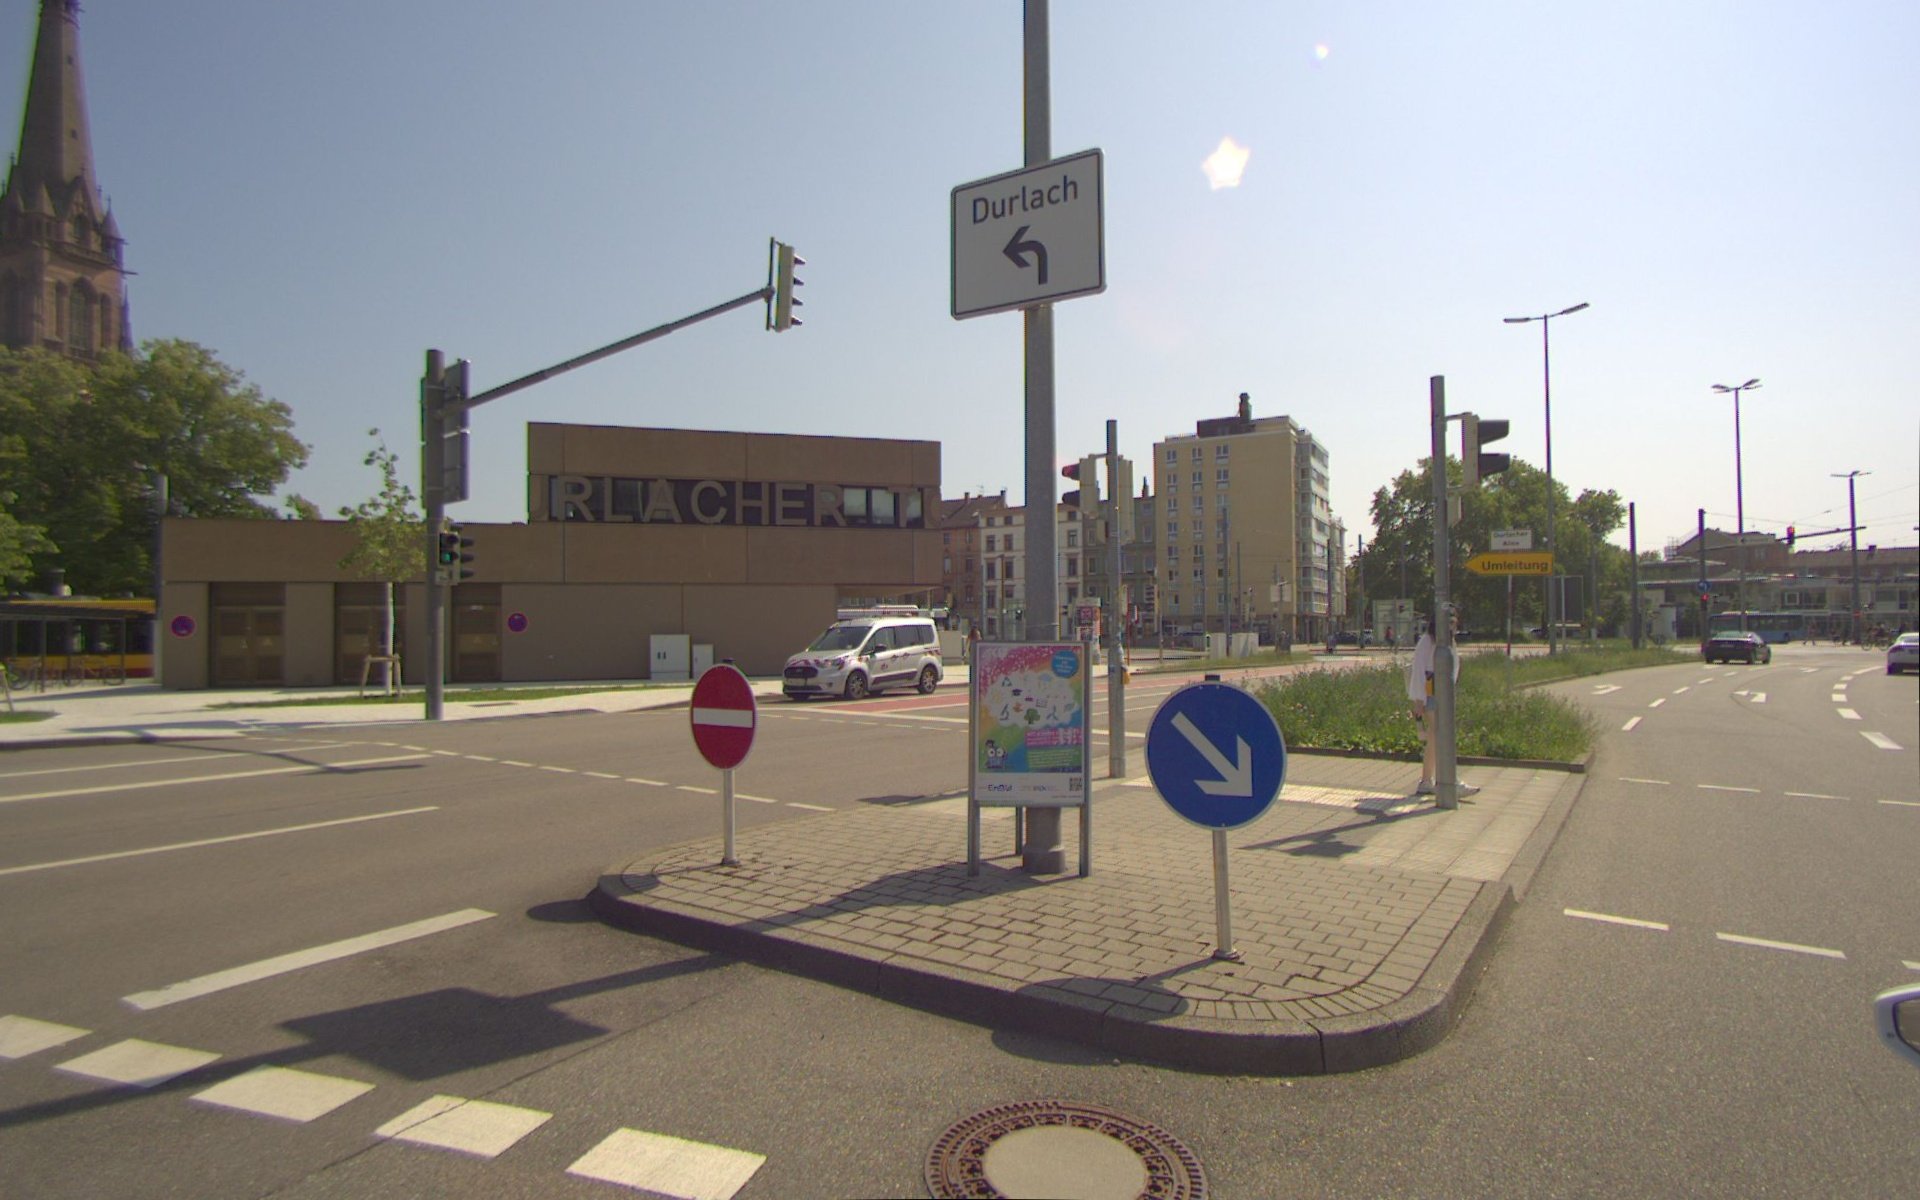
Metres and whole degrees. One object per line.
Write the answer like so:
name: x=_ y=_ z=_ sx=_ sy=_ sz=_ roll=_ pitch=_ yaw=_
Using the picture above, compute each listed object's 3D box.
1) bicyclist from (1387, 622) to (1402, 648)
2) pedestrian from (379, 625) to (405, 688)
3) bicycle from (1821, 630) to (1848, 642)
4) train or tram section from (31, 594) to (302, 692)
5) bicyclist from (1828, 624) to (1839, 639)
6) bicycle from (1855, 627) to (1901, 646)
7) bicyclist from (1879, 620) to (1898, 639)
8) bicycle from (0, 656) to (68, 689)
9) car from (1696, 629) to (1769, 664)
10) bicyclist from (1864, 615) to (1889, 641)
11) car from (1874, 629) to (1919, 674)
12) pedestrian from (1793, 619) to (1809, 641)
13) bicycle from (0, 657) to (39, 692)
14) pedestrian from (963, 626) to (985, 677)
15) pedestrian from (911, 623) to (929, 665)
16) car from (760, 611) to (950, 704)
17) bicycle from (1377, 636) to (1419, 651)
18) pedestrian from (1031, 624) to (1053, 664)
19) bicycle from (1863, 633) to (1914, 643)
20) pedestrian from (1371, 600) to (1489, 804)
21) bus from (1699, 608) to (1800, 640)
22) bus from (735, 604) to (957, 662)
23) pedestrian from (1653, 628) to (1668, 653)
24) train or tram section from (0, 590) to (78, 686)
bicyclist: x=27.573 y=2.205 z=63.714 sx=0.826 sy=1.664 sz=0.606 roll=-1 pitch=-2 yaw=29
pedestrian: x=-15.754 y=1.563 z=27.864 sx=0.527 sy=1.700 sz=0.567 roll=0 pitch=-2 yaw=-18
bicycle: x=71.018 y=2.927 z=81.566 sx=0.501 sy=0.998 sz=1.585 roll=0 pitch=-2 yaw=-27
train or tram section: x=-32.361 y=1.735 z=41.438 sx=8.113 sy=3.644 sz=3.151 roll=-1 pitch=-3 yaw=-17
bicyclist: x=70.997 y=2.553 z=81.616 sx=0.501 sy=1.204 sz=0.501 roll=0 pitch=-1 yaw=-27
bicycle: x=60.126 y=2.380 z=65.833 sx=0.955 sy=1.194 sz=2.834 roll=-1 pitch=-2 yaw=13
bicyclist: x=75.408 y=2.372 z=81.601 sx=0.890 sy=1.520 sz=0.864 roll=-1 pitch=-2 yaw=28
bicycle: x=-30.176 y=2.342 z=32.552 sx=1.828 sy=0.998 sz=0.511 roll=0 pitch=-2 yaw=-19
car: x=33.914 y=2.023 z=44.067 sx=3.948 sy=1.423 sz=1.743 roll=1 pitch=-1 yaw=-40
bicyclist: x=60.139 y=1.833 z=65.908 sx=0.955 sy=1.675 sz=0.663 roll=-1 pitch=-1 yaw=13
car: x=34.227 y=1.812 z=36.079 sx=4.394 sy=1.474 sz=1.741 roll=1 pitch=-1 yaw=-43
pedestrian: x=71.368 y=2.542 z=85.209 sx=0.799 sy=1.775 sz=0.780 roll=0 pitch=-1 yaw=-29
bicycle: x=-29.626 y=2.318 z=30.971 sx=1.714 sy=1.054 sz=0.509 roll=0 pitch=-2 yaw=-30
pedestrian: x=0.478 y=1.749 z=34.475 sx=0.615 sy=1.725 sz=0.788 roll=-1 pitch=-2 yaw=9
pedestrian: x=-1.755 y=1.912 z=43.849 sx=0.545 sy=1.786 sz=0.691 roll=0 pitch=-2 yaw=-30
car: x=-2.273 y=1.276 z=22.856 sx=1.967 sy=1.884 sz=4.321 roll=-5 pitch=-4 yaw=34
bicycle: x=27.743 y=2.759 z=63.602 sx=2.373 sy=0.966 sz=0.603 roll=-2 pitch=-2 yaw=29
pedestrian: x=3.553 y=1.918 z=43.670 sx=0.635 sy=1.725 sz=0.807 roll=-2 pitch=-2 yaw=33
bicycle: x=75.379 y=3.089 z=81.610 sx=2.891 sy=0.737 sz=0.864 roll=-2 pitch=-2 yaw=28
pedestrian: x=4.165 y=0.876 z=8.923 sx=0.600 sy=1.717 sz=0.695 roll=0 pitch=-2 yaw=-27
bus: x=74.896 y=2.259 z=95.223 sx=11.701 sy=2.970 sz=3.042 roll=0 pitch=-2 yaw=-28
bus: x=-6.483 y=1.857 z=57.515 sx=12.281 sy=3.111 sz=3.096 roll=0 pitch=-2 yaw=-17
pedestrian: x=37.947 y=2.194 z=54.434 sx=0.587 sy=1.286 sz=0.504 roll=-1 pitch=1 yaw=28
train or tram section: x=-40.212 y=1.600 z=38.969 sx=8.389 sy=3.644 sz=3.151 roll=-1 pitch=-3 yaw=-17
